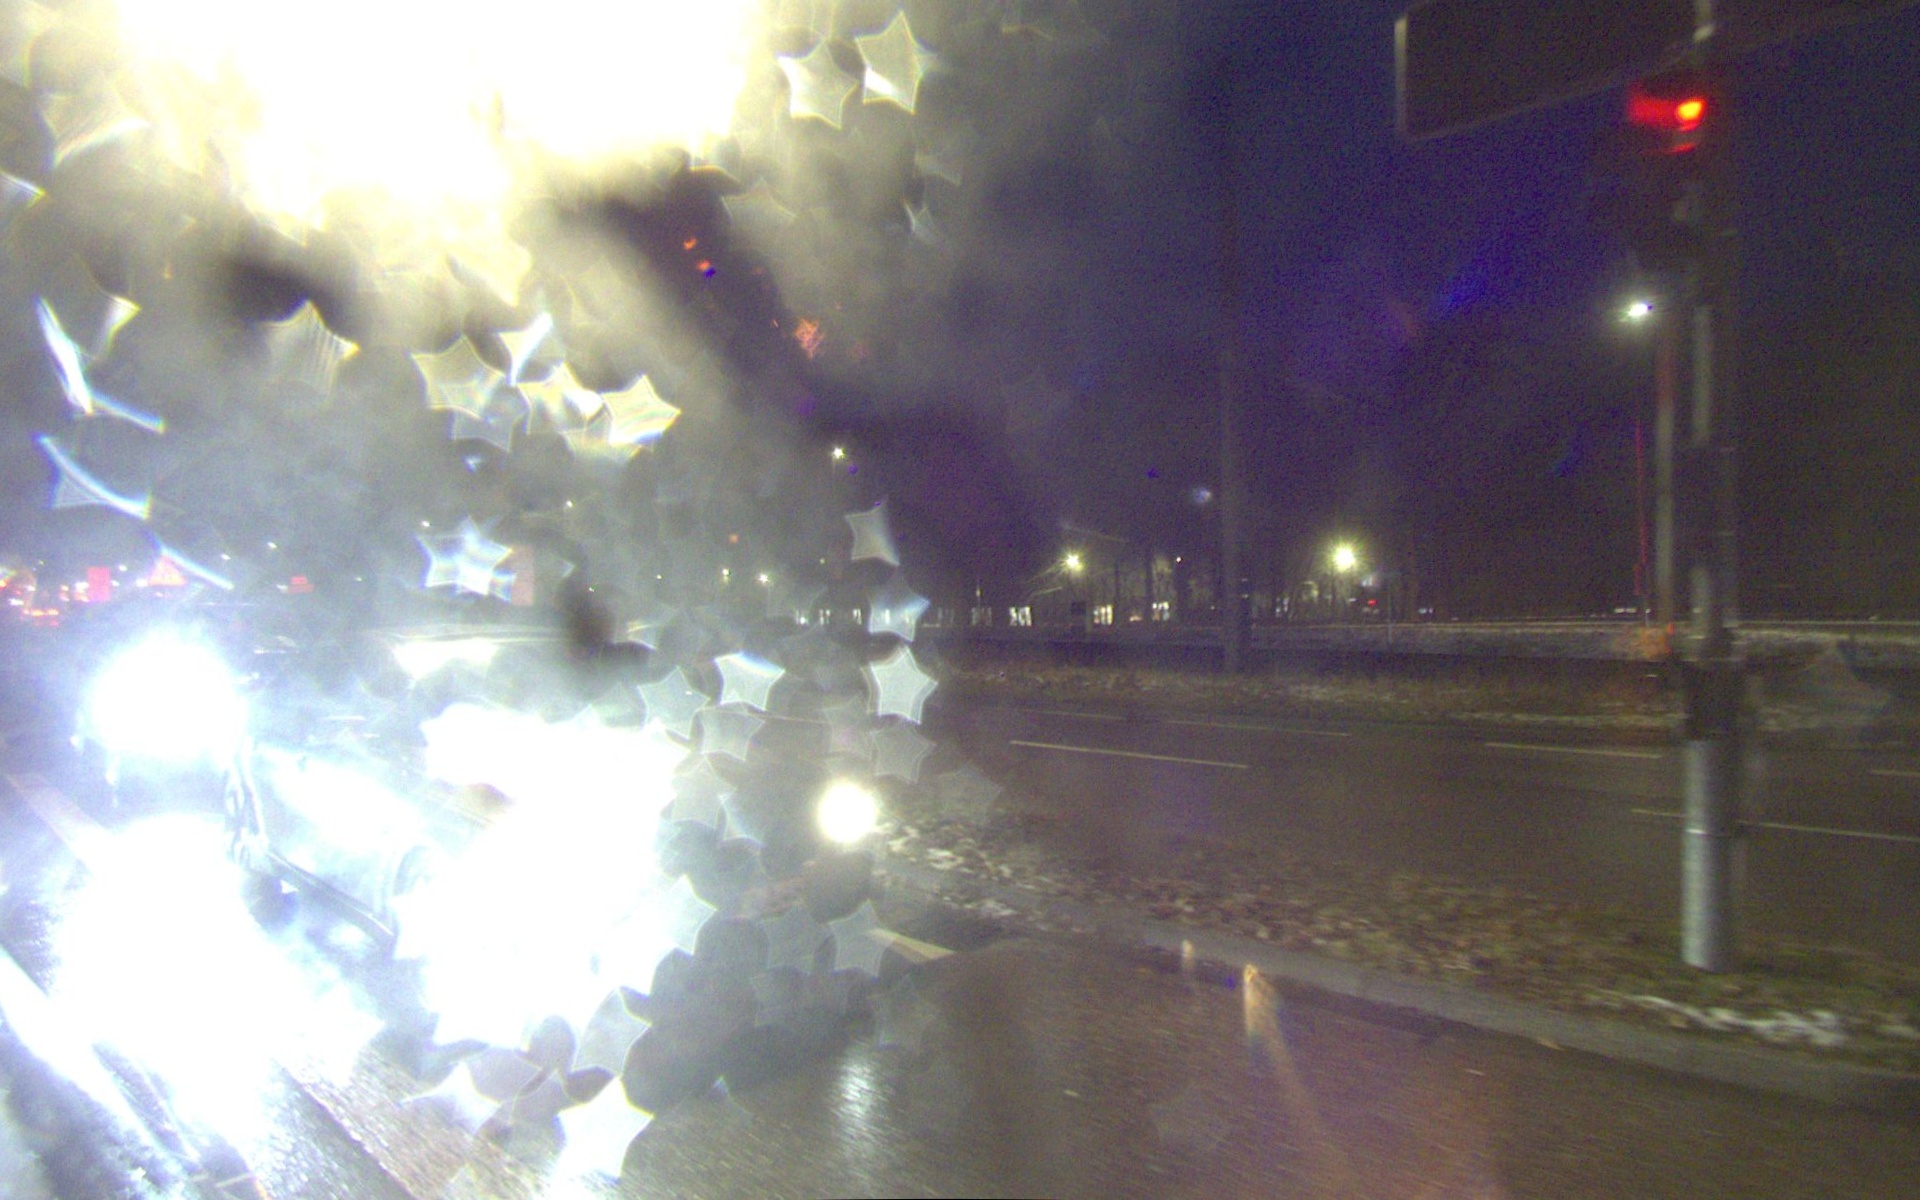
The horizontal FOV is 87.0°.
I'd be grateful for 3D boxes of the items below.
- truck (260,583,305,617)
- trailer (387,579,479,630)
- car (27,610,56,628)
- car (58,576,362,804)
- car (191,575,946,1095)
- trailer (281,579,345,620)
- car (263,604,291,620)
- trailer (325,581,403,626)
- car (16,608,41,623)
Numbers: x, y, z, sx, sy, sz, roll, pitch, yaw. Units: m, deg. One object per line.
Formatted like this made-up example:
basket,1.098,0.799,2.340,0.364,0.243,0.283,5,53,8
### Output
truck,-100.027,0.011,149.358,3.401,4.643,10.219,-6,4,-45
trailer,-53.885,0.332,103.164,3.927,4.643,14.257,-6,4,-45
car,-93.093,1.897,102.578,4.651,1.654,1.742,0,1,42
car,-7.650,0.739,10.139,4.437,1.795,1.764,-1,-1,44
car,-2.285,0.732,5.133,4.435,1.522,1.765,-1,-2,42
trailer,-87.881,-0.160,137.267,3.927,5.049,14.845,-6,4,-45
car,-78.083,1.348,115.615,4.220,1.706,1.766,-1,1,44
trailer,-69.866,0.311,118.336,3.927,4.643,15.525,-6,4,-45
car,-107.941,1.803,117.249,4.031,1.600,1.782,0,1,43
